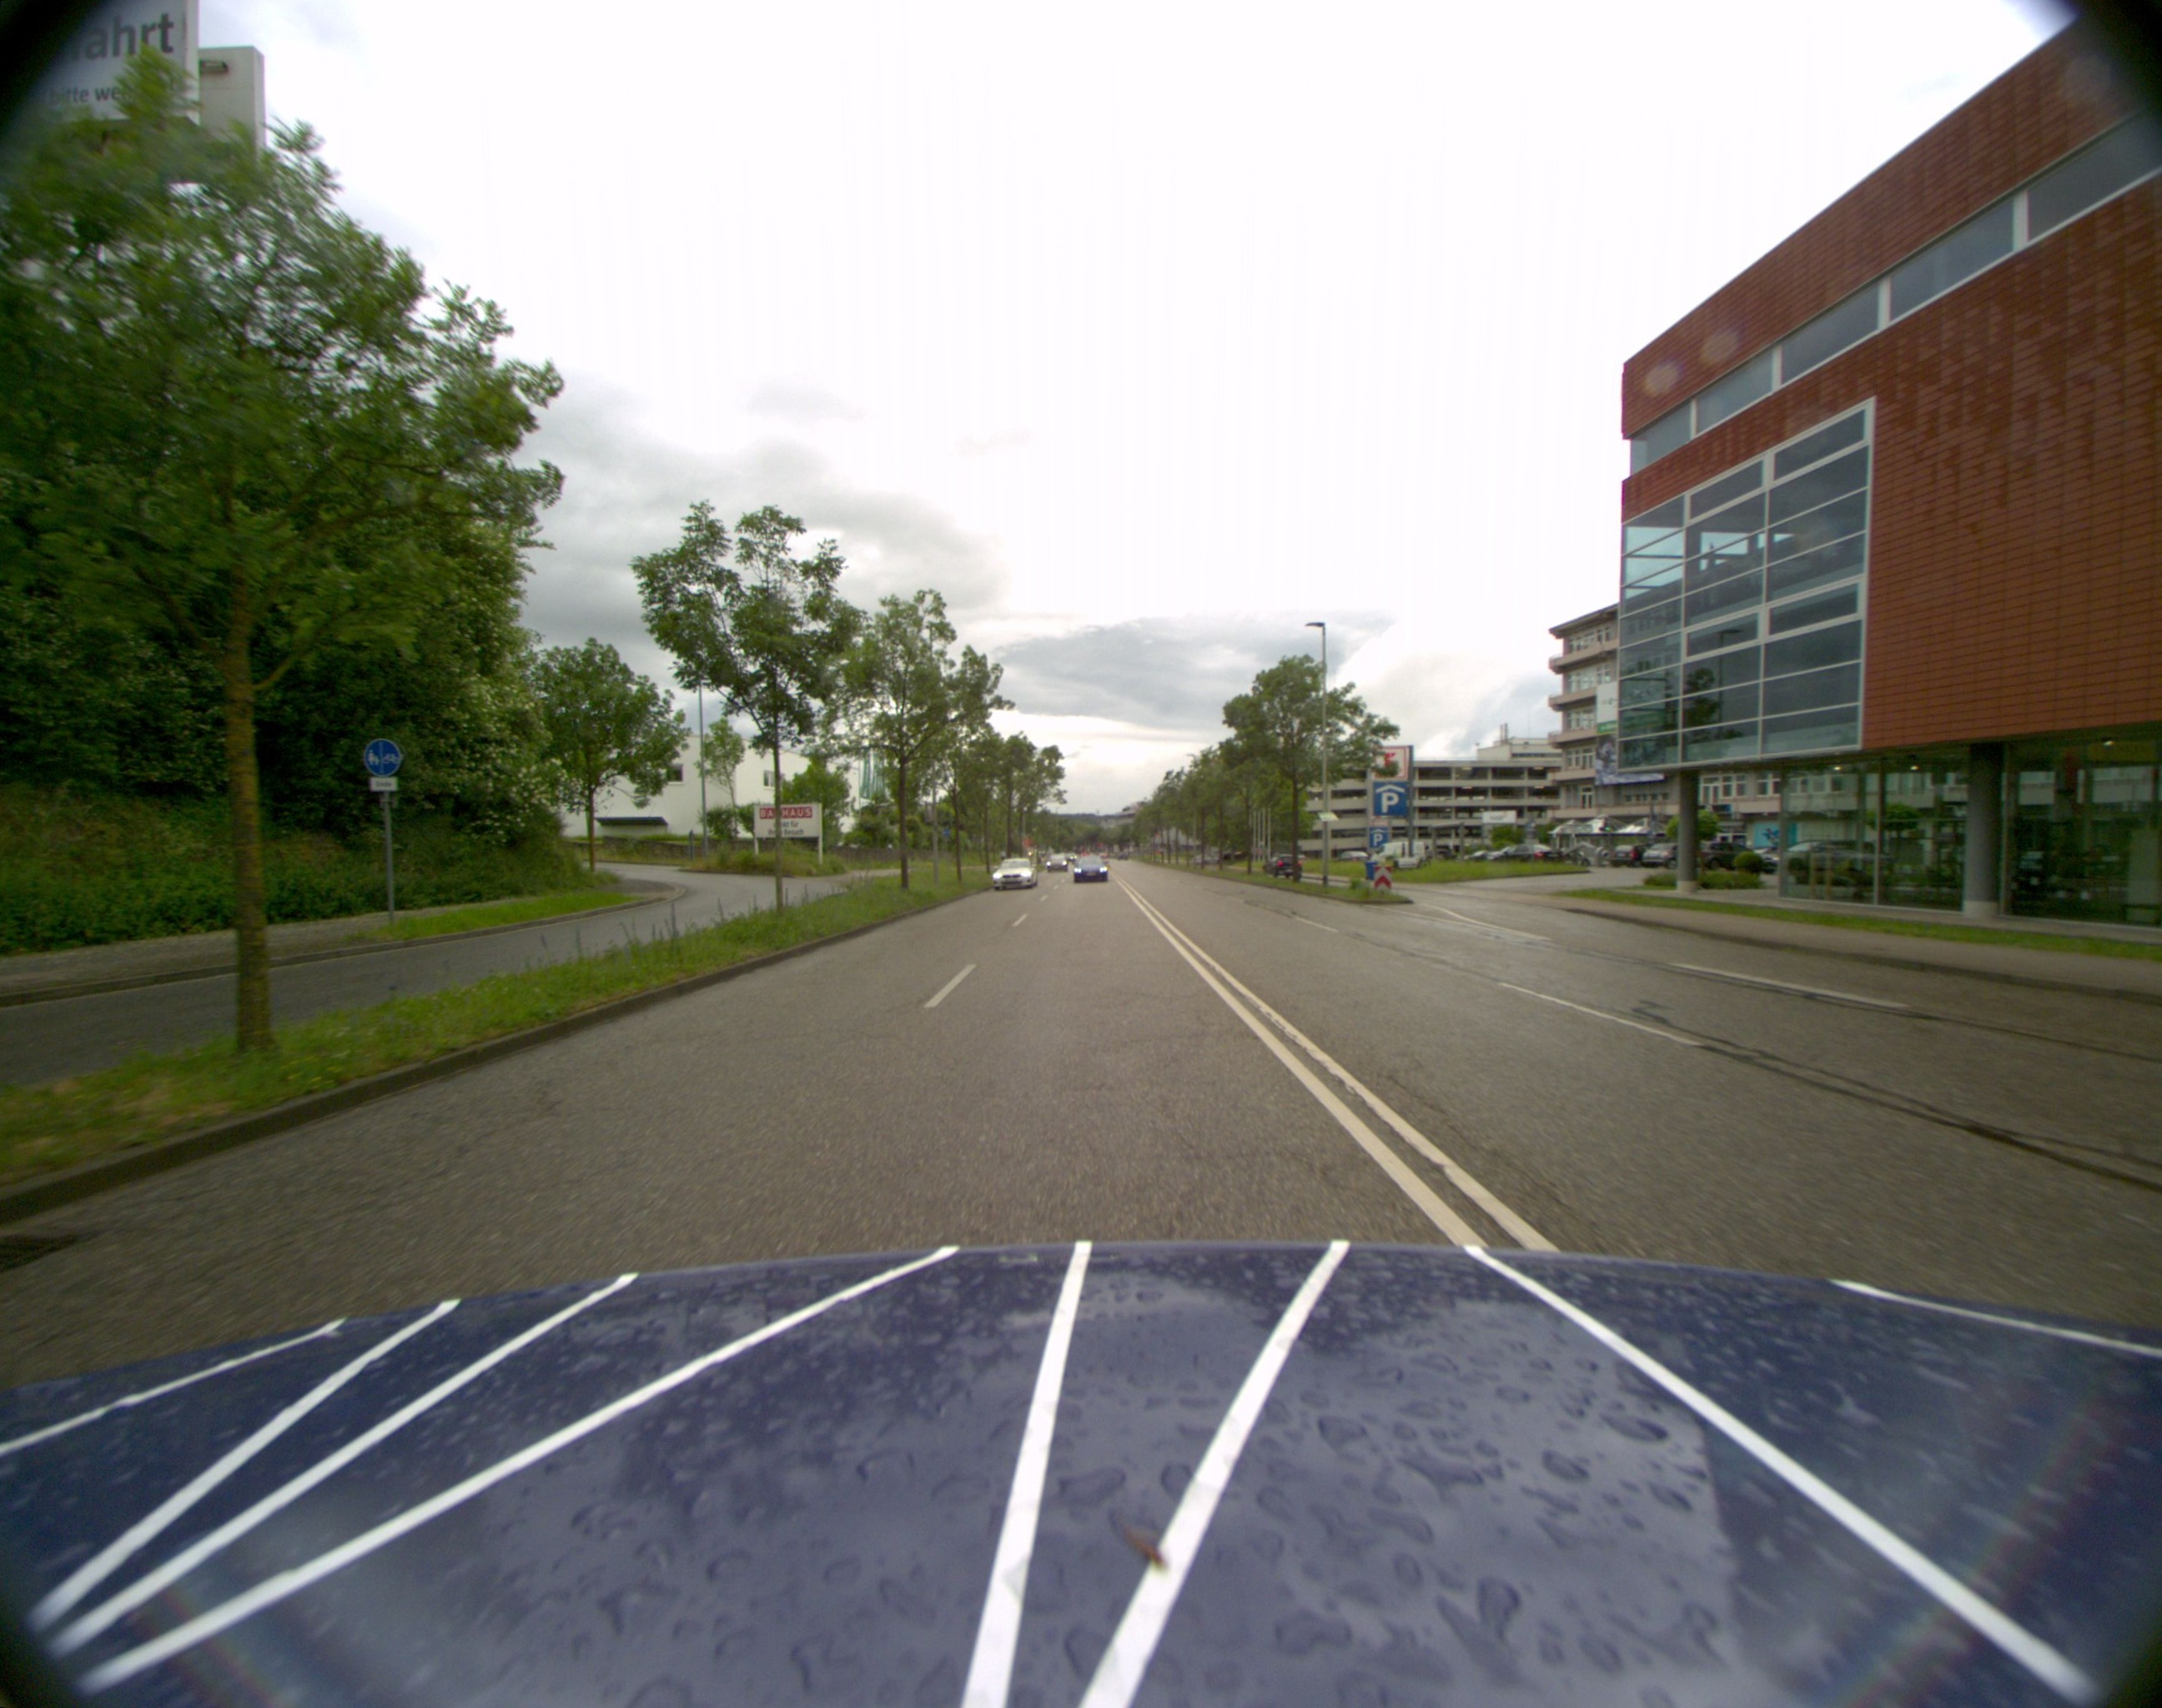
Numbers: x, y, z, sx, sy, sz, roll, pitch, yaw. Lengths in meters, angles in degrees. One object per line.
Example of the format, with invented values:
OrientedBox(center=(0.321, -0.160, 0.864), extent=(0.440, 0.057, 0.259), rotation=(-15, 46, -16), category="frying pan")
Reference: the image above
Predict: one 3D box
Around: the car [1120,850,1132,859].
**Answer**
OrientedBox(center=(8.769, 0.051, 149.187), extent=(2.114, 1.610, 4.839), rotation=(1, 0, 0), category="car")

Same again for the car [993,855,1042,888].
OrientedBox(center=(-3.046, 0.822, 37.029), extent=(1.864, 1.473, 4.000), rotation=(-1, 0, 2), category="car")

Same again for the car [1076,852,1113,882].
OrientedBox(center=(0.696, 0.658, 41.590), extent=(1.827, 1.473, 4.839), rotation=(-2, 0, 0), category="car")

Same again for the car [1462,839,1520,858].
OrientedBox(center=(35.875, -0.480, 66.531), extent=(4.060, 1.608, 1.834), rotation=(0, 1, 0), category="car")

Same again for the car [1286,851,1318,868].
OrientedBox(center=(22.200, 0.549, 76.435), extent=(1.833, 1.608, 4.062), rotation=(0, 0, -2), category="car")

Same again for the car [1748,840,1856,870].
OrientedBox(center=(39.303, 0.050, 41.485), extent=(4.192, 1.608, 1.834), rotation=(0, 1, 0), category="car")

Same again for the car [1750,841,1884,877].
OrientedBox(center=(34.536, 0.230, 35.748), extent=(4.435, 1.608, 1.834), rotation=(0, 1, 3), category="car")

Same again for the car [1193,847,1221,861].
OrientedBox(center=(17.163, 0.046, 103.160), extent=(1.845, 1.839, 4.009), rotation=(0, 0, 42), category="car")

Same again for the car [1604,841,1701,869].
OrientedBox(center=(33.940, 0.059, 45.162), extent=(4.437, 1.608, 1.833), rotation=(0, 1, -2), category="car")

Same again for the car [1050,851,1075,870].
OrientedBox(center=(-1.693, 0.565, 70.068), extent=(2.114, 1.610, 4.839), rotation=(-1, 0, 0), category="car")

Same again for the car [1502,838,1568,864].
OrientedBox(center=(24.404, -0.185, 40.991), extent=(1.509, 1.276, 3.449), rotation=(-2, 1, 0), category="car")

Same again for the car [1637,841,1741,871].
OrientedBox(center=(34.109, 0.096, 42.688), extent=(4.437, 1.608, 1.833), rotation=(0, 1, -2), category="car")

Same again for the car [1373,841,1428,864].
OrientedBox(center=(23.819, -0.123, 56.810), extent=(1.834, 1.608, 4.436), rotation=(0, 0, -7), category="car")

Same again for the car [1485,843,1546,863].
OrientedBox(center=(36.459, -0.099, 63.766), extent=(4.060, 1.608, 1.834), rotation=(0, 1, 0), category="car")

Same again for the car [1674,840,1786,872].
OrientedBox(center=(34.169, 0.113, 40.066), extent=(4.437, 1.608, 1.833), rotation=(0, 1, -2), category="car")

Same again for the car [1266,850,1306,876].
OrientedBox(center=(13.473, 0.572, 50.095), extent=(1.832, 1.608, 4.001), rotation=(-2, 0, 6), category="car")

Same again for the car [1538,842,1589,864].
OrientedBox(center=(33.278, -0.068, 52.496), extent=(1.439, 1.414, 3.497), rotation=(-1, 0, 3), category="car")

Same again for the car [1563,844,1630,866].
OrientedBox(center=(38.127, 0.046, 56.212), extent=(3.999, 1.590, 1.680), rotation=(-1, 1, -7), category="car")
